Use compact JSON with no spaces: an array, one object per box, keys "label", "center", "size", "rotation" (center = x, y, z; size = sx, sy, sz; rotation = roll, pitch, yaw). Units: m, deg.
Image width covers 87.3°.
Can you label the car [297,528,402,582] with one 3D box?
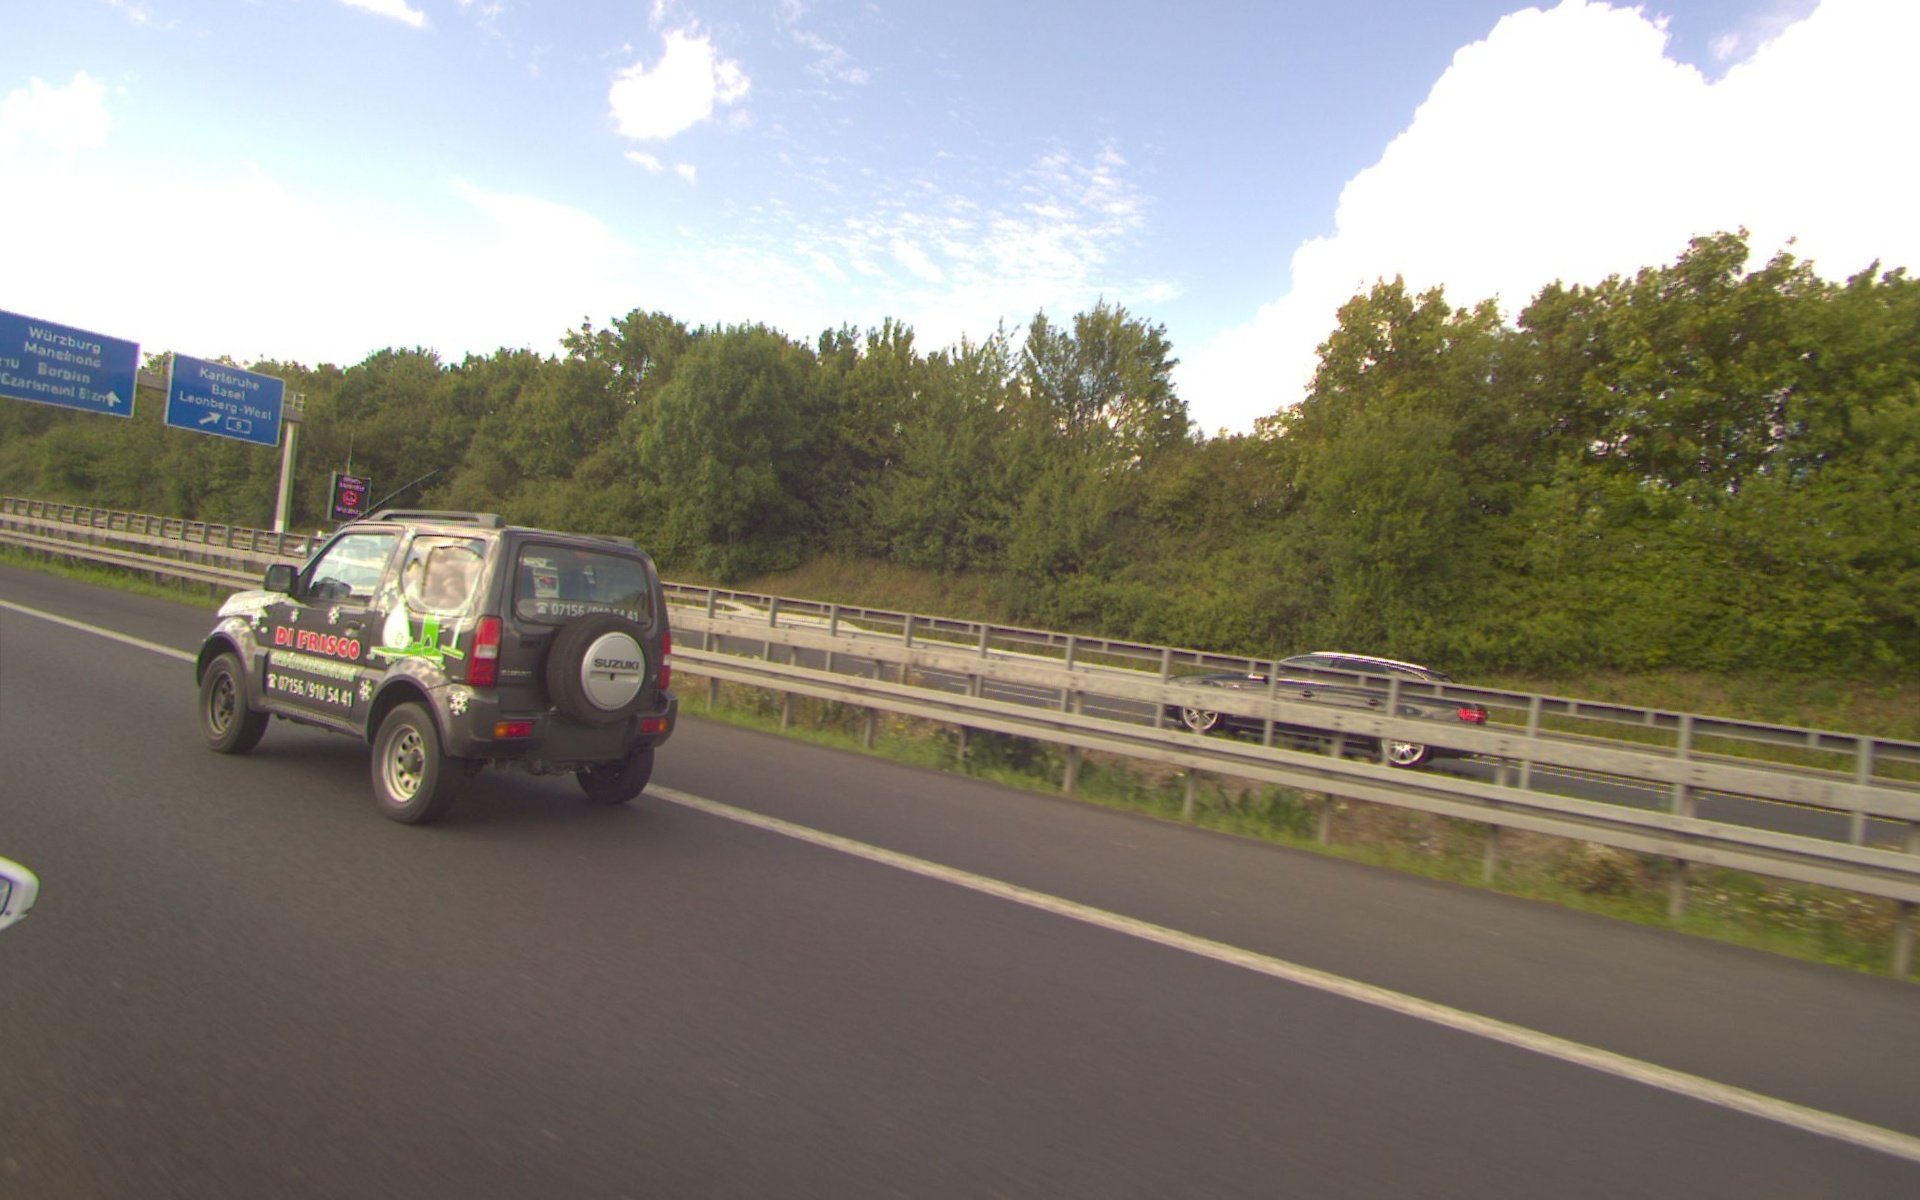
[{"label":"car","center":[-24.996,-1.846,41.182],"size":[3.934,1.730,1.995],"rotation":[6,0,31]}]

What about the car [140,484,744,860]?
[{"label":"car","center":[-3.635,0.296,6.814],"size":[4.138,1.753,1.668],"rotation":[6,-1,33]}]

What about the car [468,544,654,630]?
[{"label":"car","center":[-9.477,-0.307,23.840],"size":[3.933,1.502,1.997],"rotation":[6,-1,30]}]

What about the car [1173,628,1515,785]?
[{"label":"car","center":[5.512,1.450,14.547],"size":[4.238,1.502,1.997],"rotation":[6,-1,30]}]
